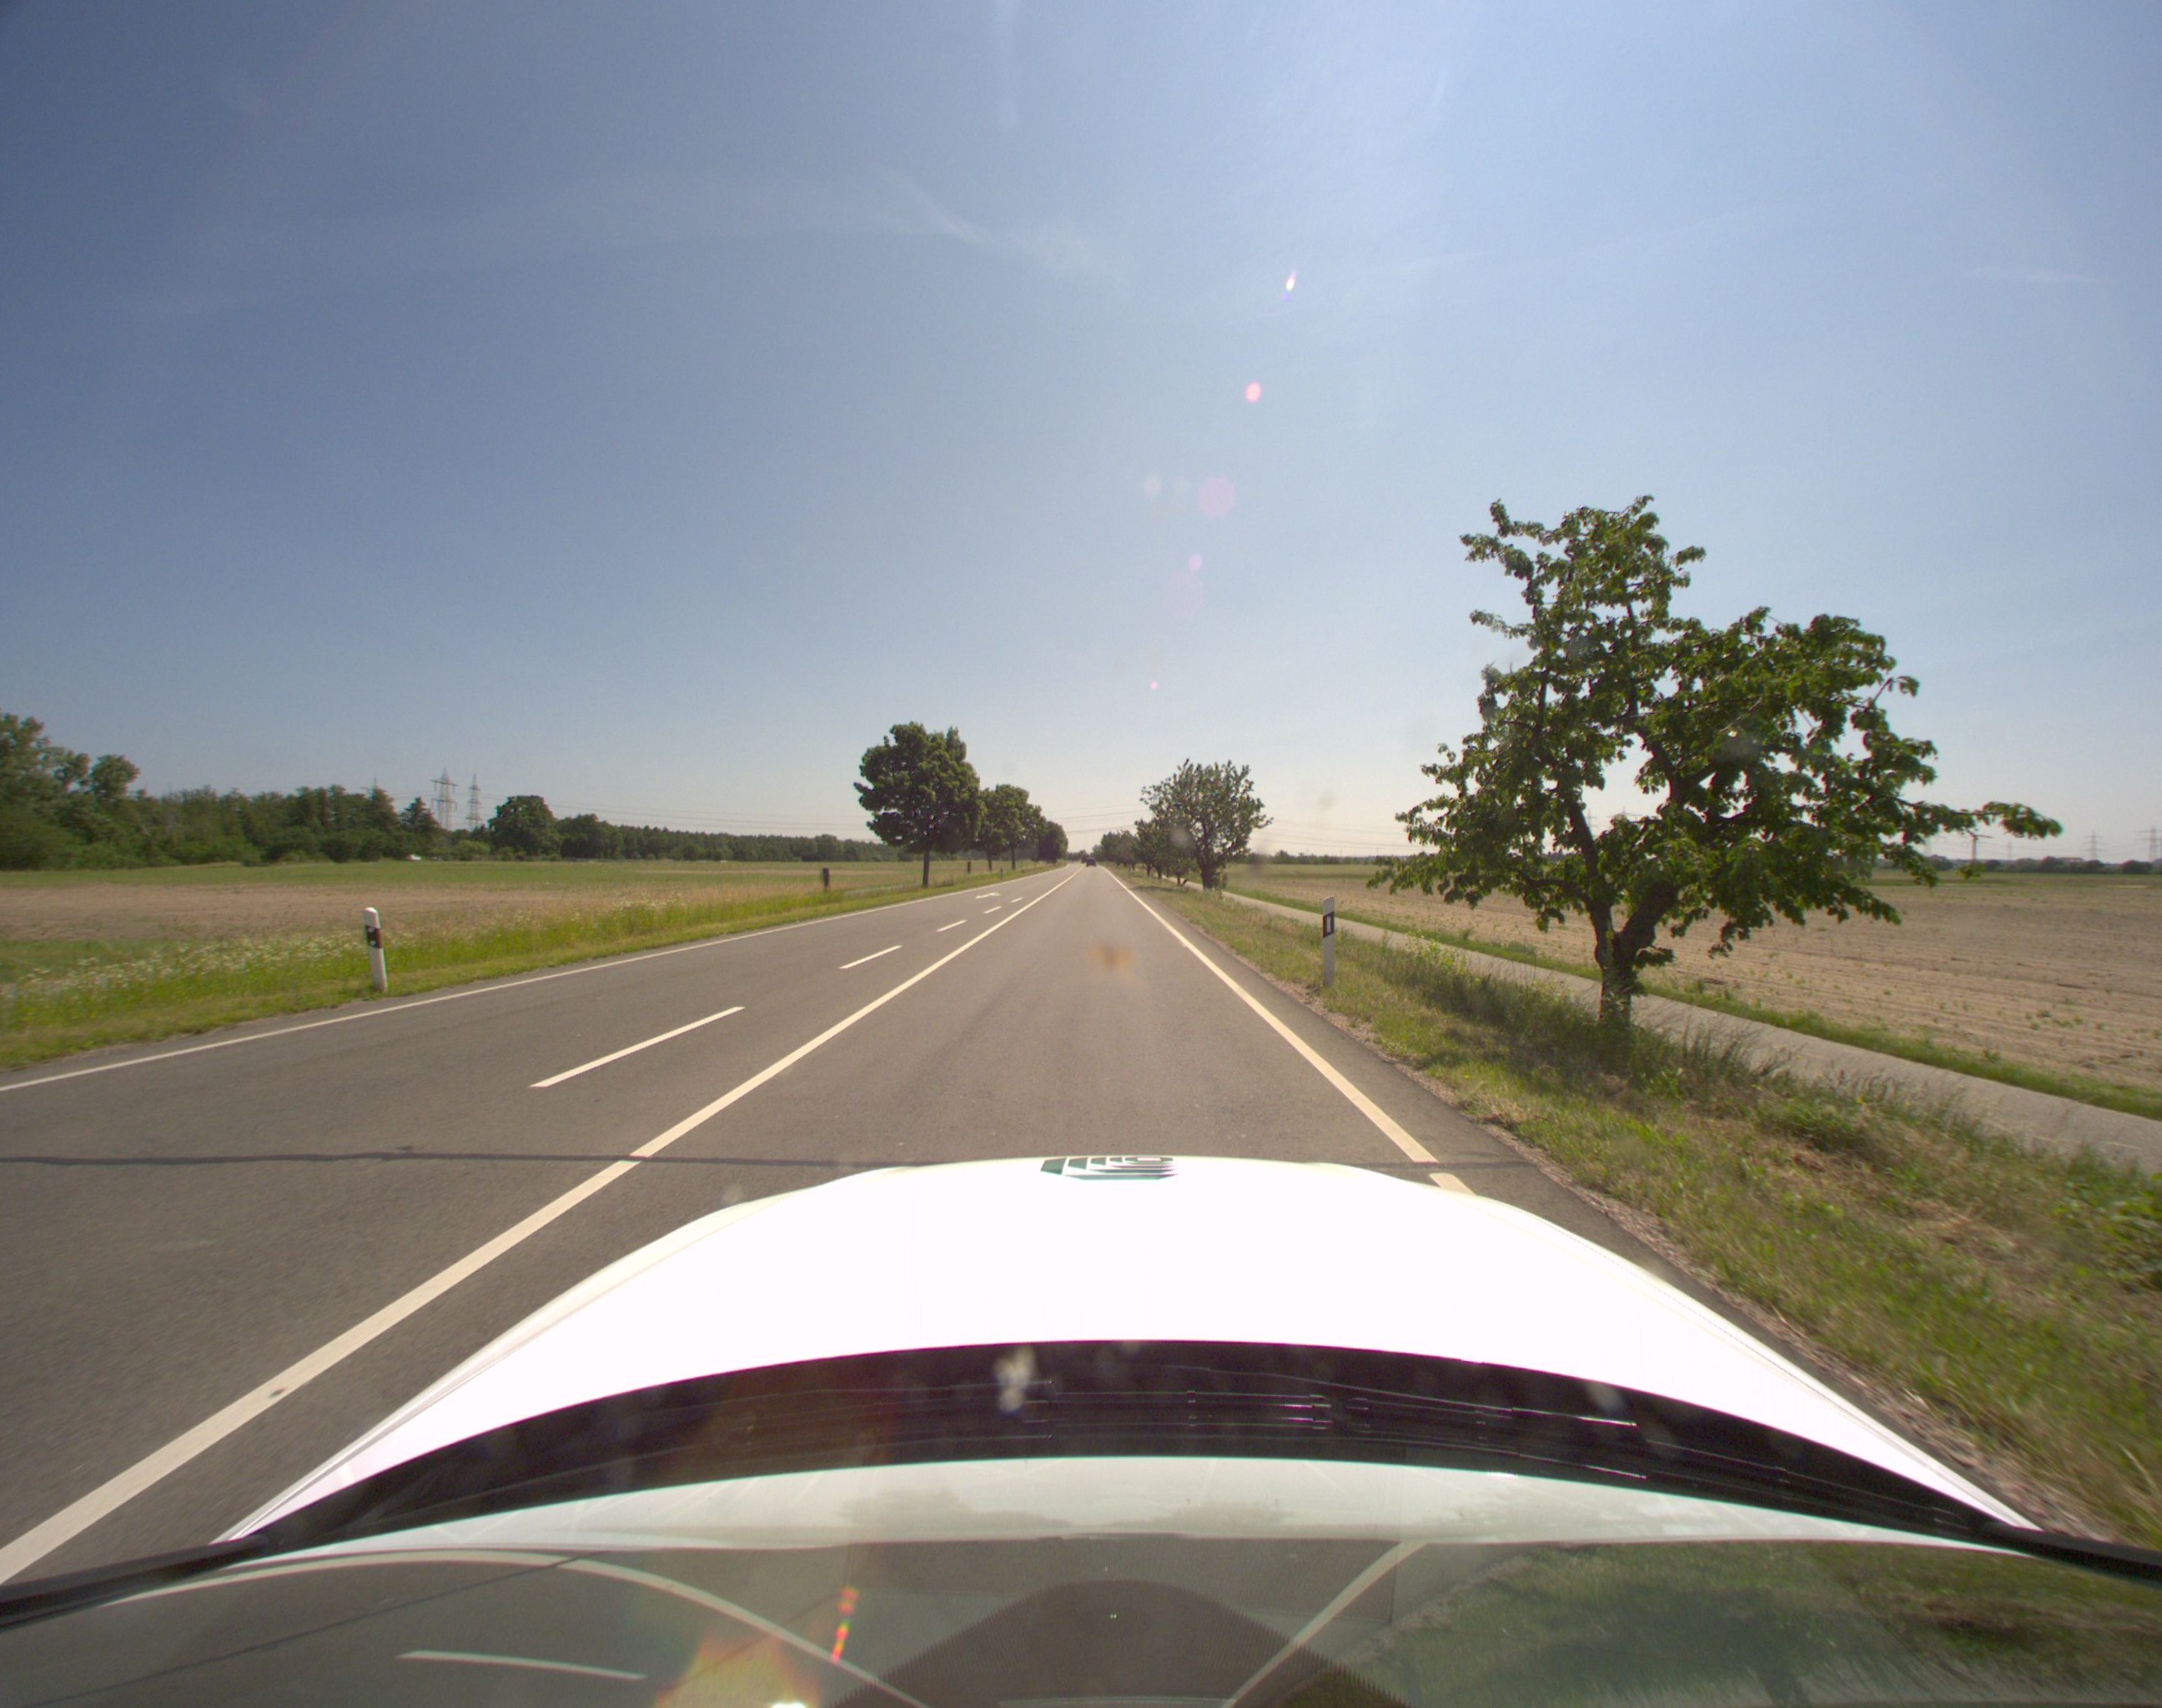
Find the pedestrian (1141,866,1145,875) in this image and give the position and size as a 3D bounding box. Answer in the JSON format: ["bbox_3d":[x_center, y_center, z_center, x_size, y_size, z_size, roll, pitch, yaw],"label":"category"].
[{"bbox_3d":[10.017,2.655,131.666,0.554,1.371,0.602,2,0,-7],"label":"pedestrian"}]

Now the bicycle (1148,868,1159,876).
[{"bbox_3d":[11.343,2.802,127.473,1.216,1.165,2.433,2,0,-3],"label":"bicycle"}]

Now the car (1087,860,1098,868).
[{"bbox_3d":[2.186,1.913,154.291,1.878,1.518,4.040,2,0,1],"label":"car"}]
